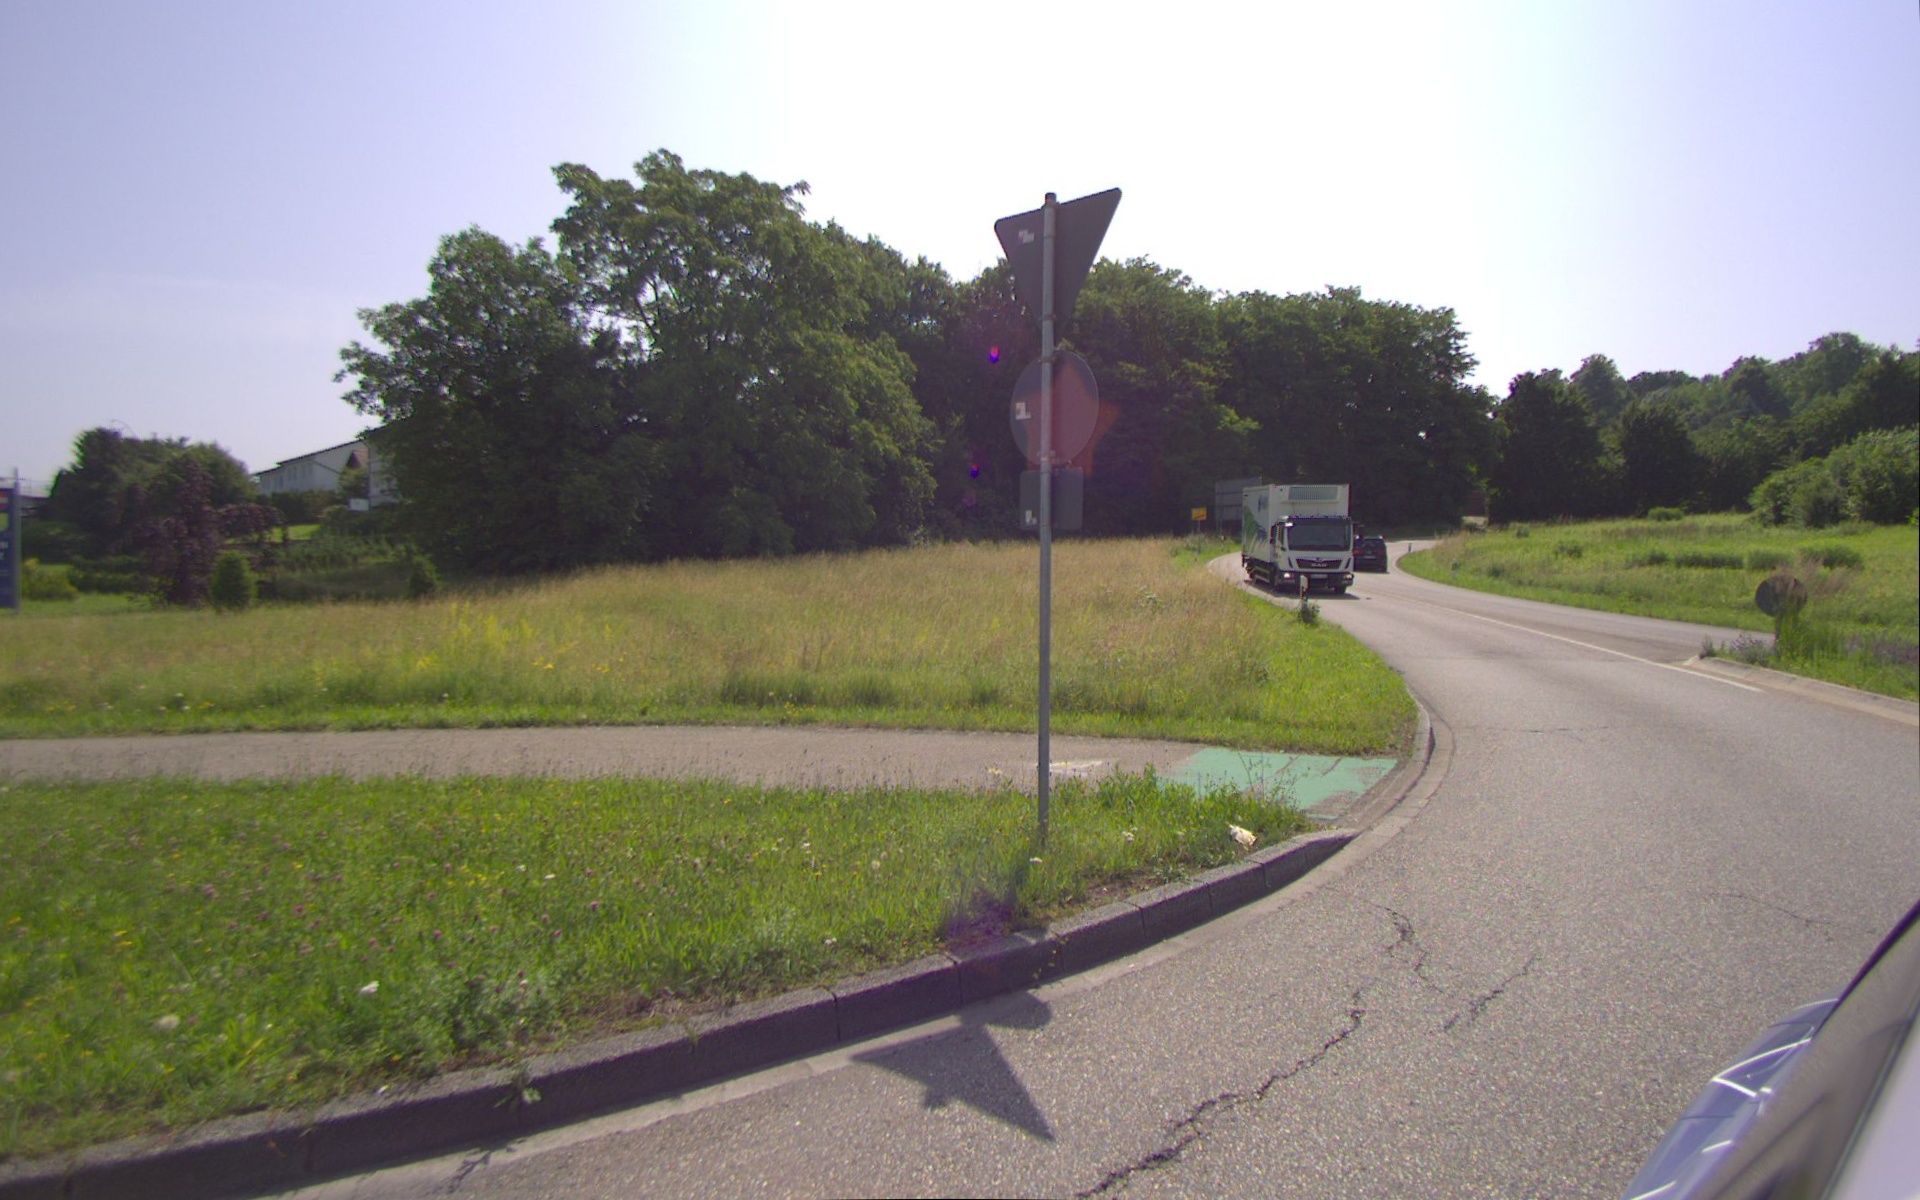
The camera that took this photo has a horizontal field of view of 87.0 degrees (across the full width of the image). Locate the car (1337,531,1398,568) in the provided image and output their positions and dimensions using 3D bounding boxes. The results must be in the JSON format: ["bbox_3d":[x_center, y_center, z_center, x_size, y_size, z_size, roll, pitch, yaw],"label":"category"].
[{"bbox_3d":[19.487,-2.408,48.574,1.883,1.615,4.360,2,3,11],"label":"car"}]

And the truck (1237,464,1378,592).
[{"bbox_3d":[12.017,-2.455,35.901,2.851,3.875,9.011,-1,3,7],"label":"truck"}]
